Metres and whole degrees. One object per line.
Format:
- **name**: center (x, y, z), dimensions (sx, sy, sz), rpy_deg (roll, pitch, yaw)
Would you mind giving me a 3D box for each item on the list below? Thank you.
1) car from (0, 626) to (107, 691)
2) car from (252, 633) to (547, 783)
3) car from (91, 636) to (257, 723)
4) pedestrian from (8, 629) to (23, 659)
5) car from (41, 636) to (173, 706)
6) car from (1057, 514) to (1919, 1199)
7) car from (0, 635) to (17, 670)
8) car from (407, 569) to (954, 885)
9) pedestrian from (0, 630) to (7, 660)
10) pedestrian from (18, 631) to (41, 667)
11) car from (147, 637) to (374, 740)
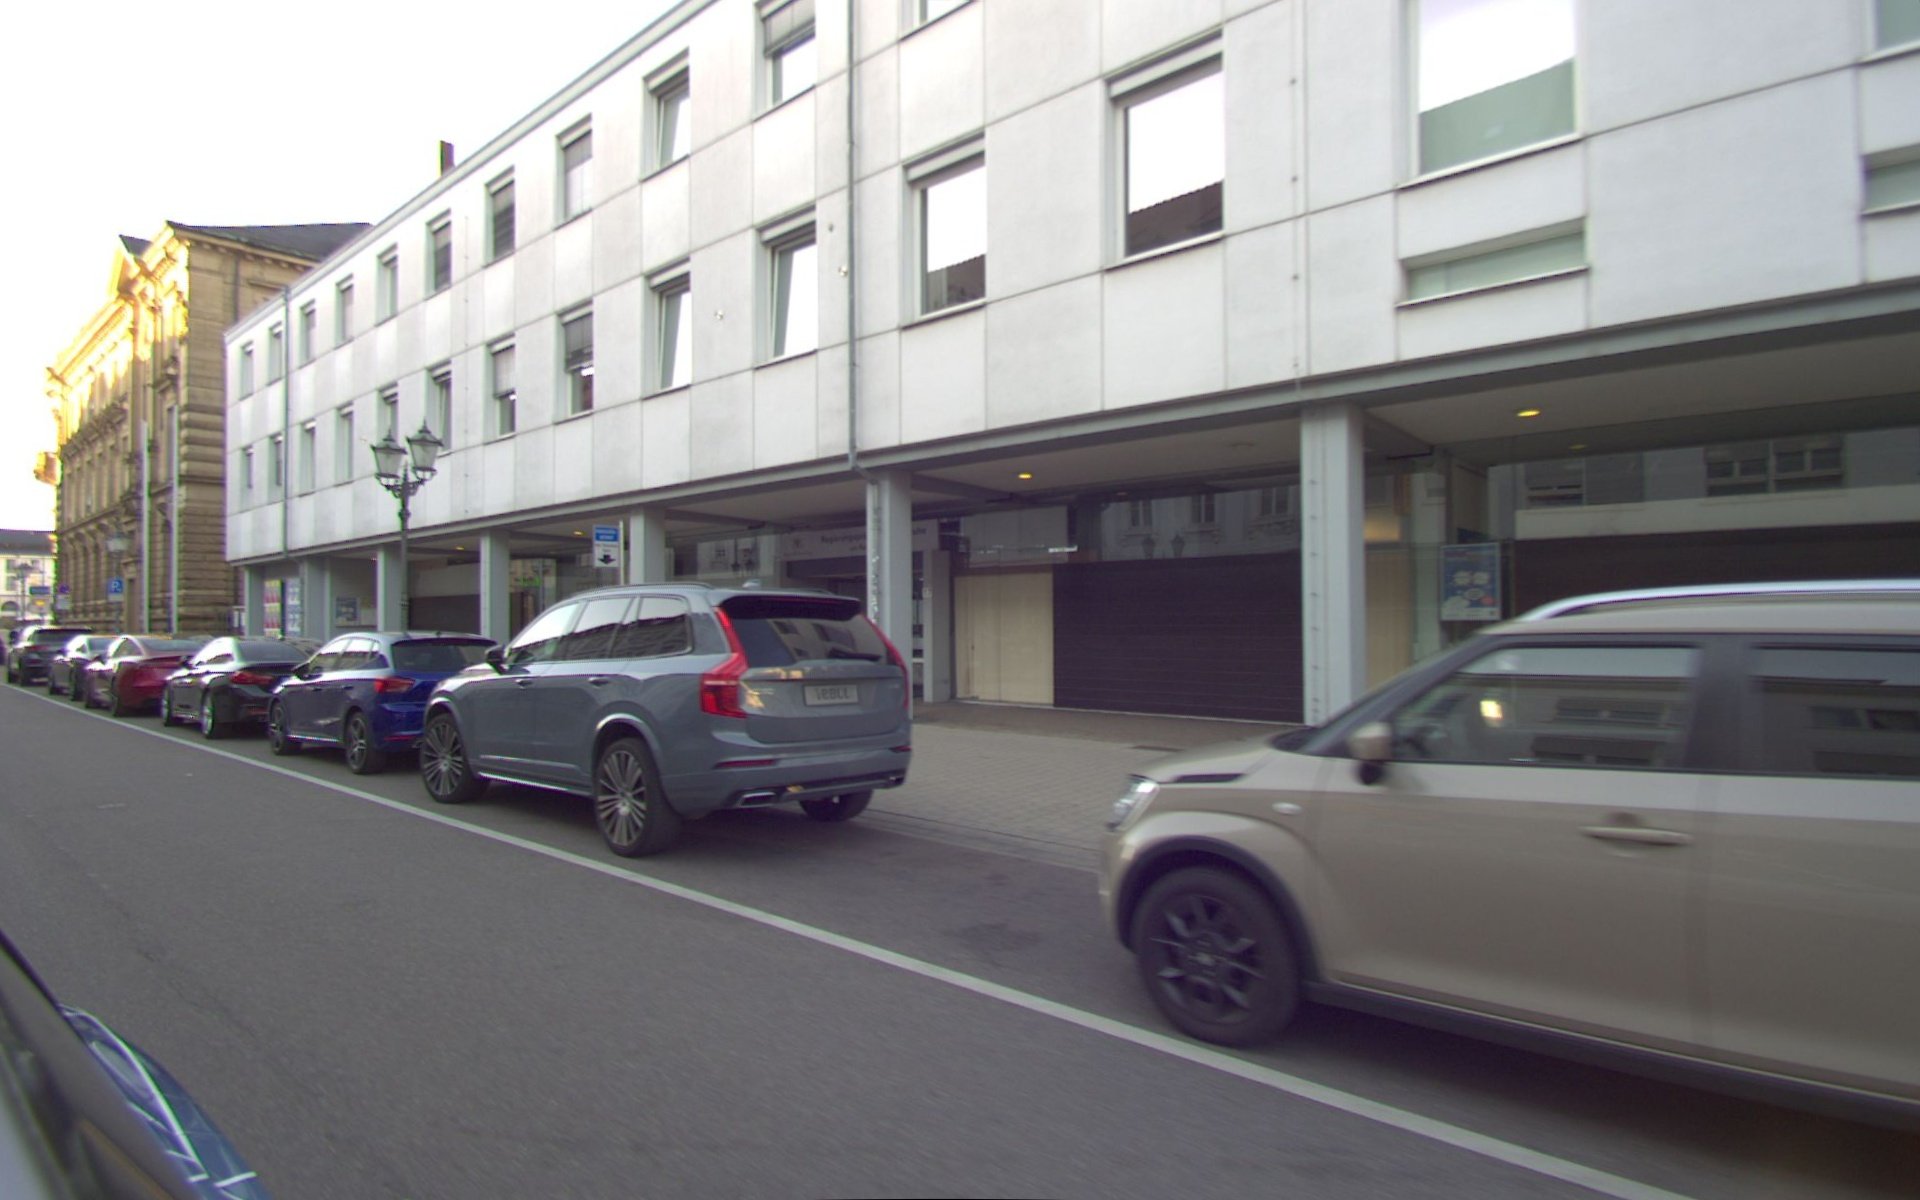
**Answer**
- **car**: center (-24.596, 1.527, 27.391), dimensions (4.165, 1.627, 1.766), rpy_deg (-2, -2, 42)
- **car**: center (-6.462, 1.089, 11.504), dimensions (3.998, 1.411, 1.656), rpy_deg (-2, -2, 41)
- **car**: center (-14.651, 1.393, 18.791), dimensions (4.087, 1.419, 1.766), rpy_deg (-2, -2, 42)
- **pedestrian**: center (-55.686, 2.570, 59.663), dimensions (0.703, 1.743, 0.600), rpy_deg (-2, -2, 43)
- **car**: center (-19.395, 1.532, 22.964), dimensions (4.087, 1.419, 1.766), rpy_deg (-2, -2, 42)
- **car**: center (2.539, 0.697, 3.380), dimensions (3.995, 1.675, 1.974), rpy_deg (-2, -4, 38)
- **car**: center (-42.723, 2.275, 44.124), dimensions (4.163, 1.506, 1.972), rpy_deg (-2, -2, 42)
- **car**: center (-2.369, 0.786, 7.859), dimensions (4.514, 1.741, 1.972), rpy_deg (-2, -3, 42)
- **pedestrian**: center (-56.107, 2.630, 59.088), dimensions (0.831, 1.743, 0.576), rpy_deg (-2, -2, 43)
- **pedestrian**: center (-46.533, 2.440, 50.612), dimensions (0.896, 1.743, 0.706), rpy_deg (-2, 1, 43)
- **car**: center (-10.770, 1.256, 15.489), dimensions (3.999, 1.364, 1.972), rpy_deg (-2, -3, 42)
